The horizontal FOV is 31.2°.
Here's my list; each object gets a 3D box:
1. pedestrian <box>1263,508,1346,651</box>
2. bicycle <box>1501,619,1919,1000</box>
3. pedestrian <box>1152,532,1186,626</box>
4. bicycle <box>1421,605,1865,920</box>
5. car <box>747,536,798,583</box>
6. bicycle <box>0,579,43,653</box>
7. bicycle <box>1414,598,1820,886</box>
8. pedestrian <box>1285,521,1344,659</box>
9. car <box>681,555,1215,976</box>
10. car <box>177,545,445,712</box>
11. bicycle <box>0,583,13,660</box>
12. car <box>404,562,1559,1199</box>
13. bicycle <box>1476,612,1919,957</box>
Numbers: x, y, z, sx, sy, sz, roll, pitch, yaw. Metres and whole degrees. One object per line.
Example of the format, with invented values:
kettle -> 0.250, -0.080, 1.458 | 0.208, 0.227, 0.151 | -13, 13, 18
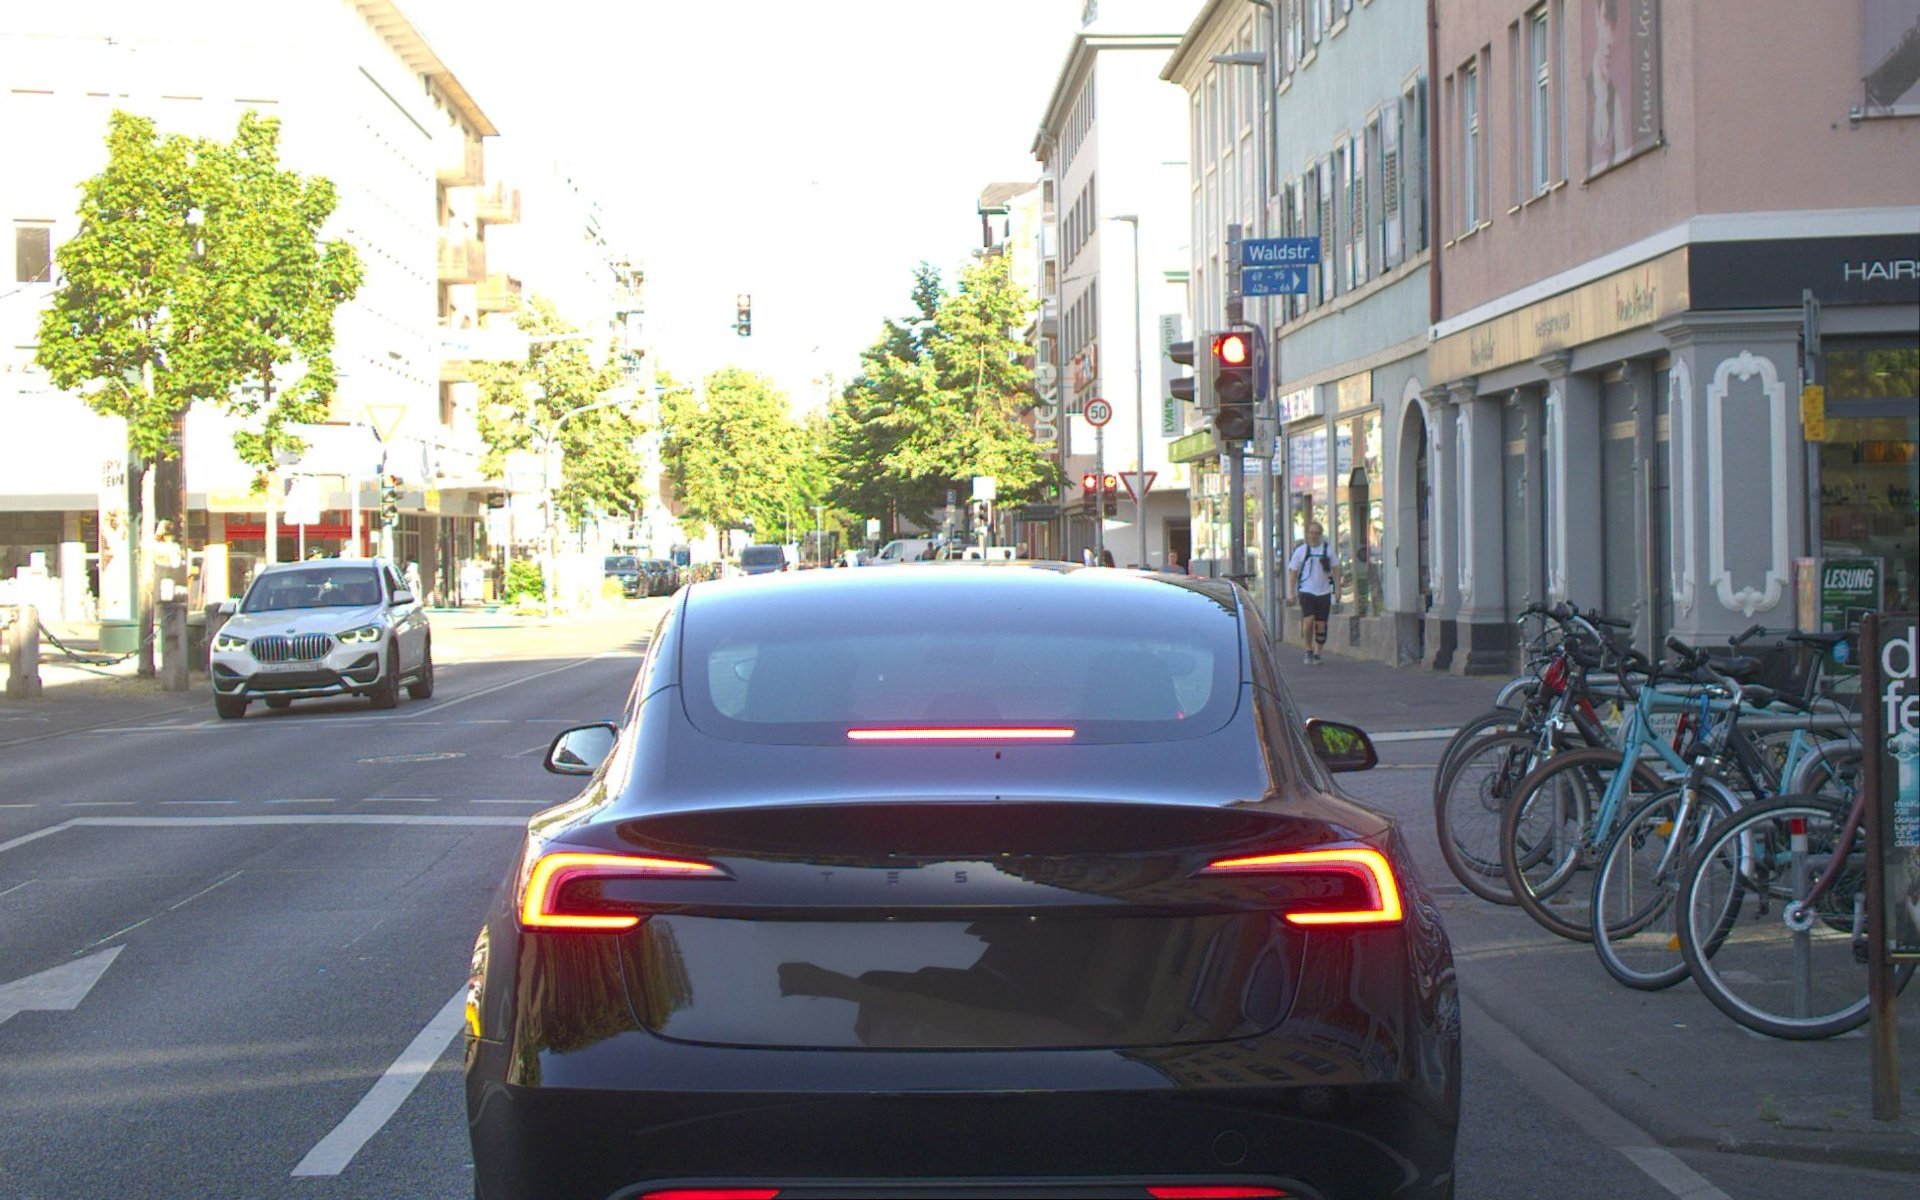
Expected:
pedestrian -> 4.457, -0.266, 44.538 | 0.999, 1.844, 0.615 | 0, 1, -1
bicycle -> 2.630, 0.666, 11.197 | 1.627, 1.156, 0.433 | -2, 1, -1
pedestrian -> 3.767, -0.380, 61.934 | 0.570, 1.685, 0.387 | 0, 1, -1
bicycle -> 2.684, 0.630, 13.568 | 1.627, 1.156, 0.433 | -2, 1, -1
car -> -6.936, -1.514, 127.228 | 1.829, 1.718, 4.000 | 0, 1, -2
bicycle -> -15.059, 0.237, 52.169 | 2.082, 1.100, 0.806 | 0, 1, -1
bicycle -> 2.808, 0.600, 14.759 | 1.628, 1.156, 0.433 | -2, 1, 1
pedestrian -> 4.597, -0.130, 44.570 | 0.704, 1.777, 0.533 | 0, 1, -1
car -> -0.036, 0.551, 13.823 | 1.850, 1.450, 3.786 | 0, 1, 0
car -> -6.724, 0.250, 36.041 | 1.993, 1.535, 4.000 | -4, 1, -1
bicycle -> -14.920, 0.307, 49.976 | 2.082, 1.100, 0.806 | 0, 1, -1
car -> 0.040, 0.654, 7.407 | 1.850, 1.450, 3.786 | 0, 1, 0
bicycle -> 2.729, 0.655, 12.411 | 1.627, 1.156, 0.433 | -2, 1, -1
